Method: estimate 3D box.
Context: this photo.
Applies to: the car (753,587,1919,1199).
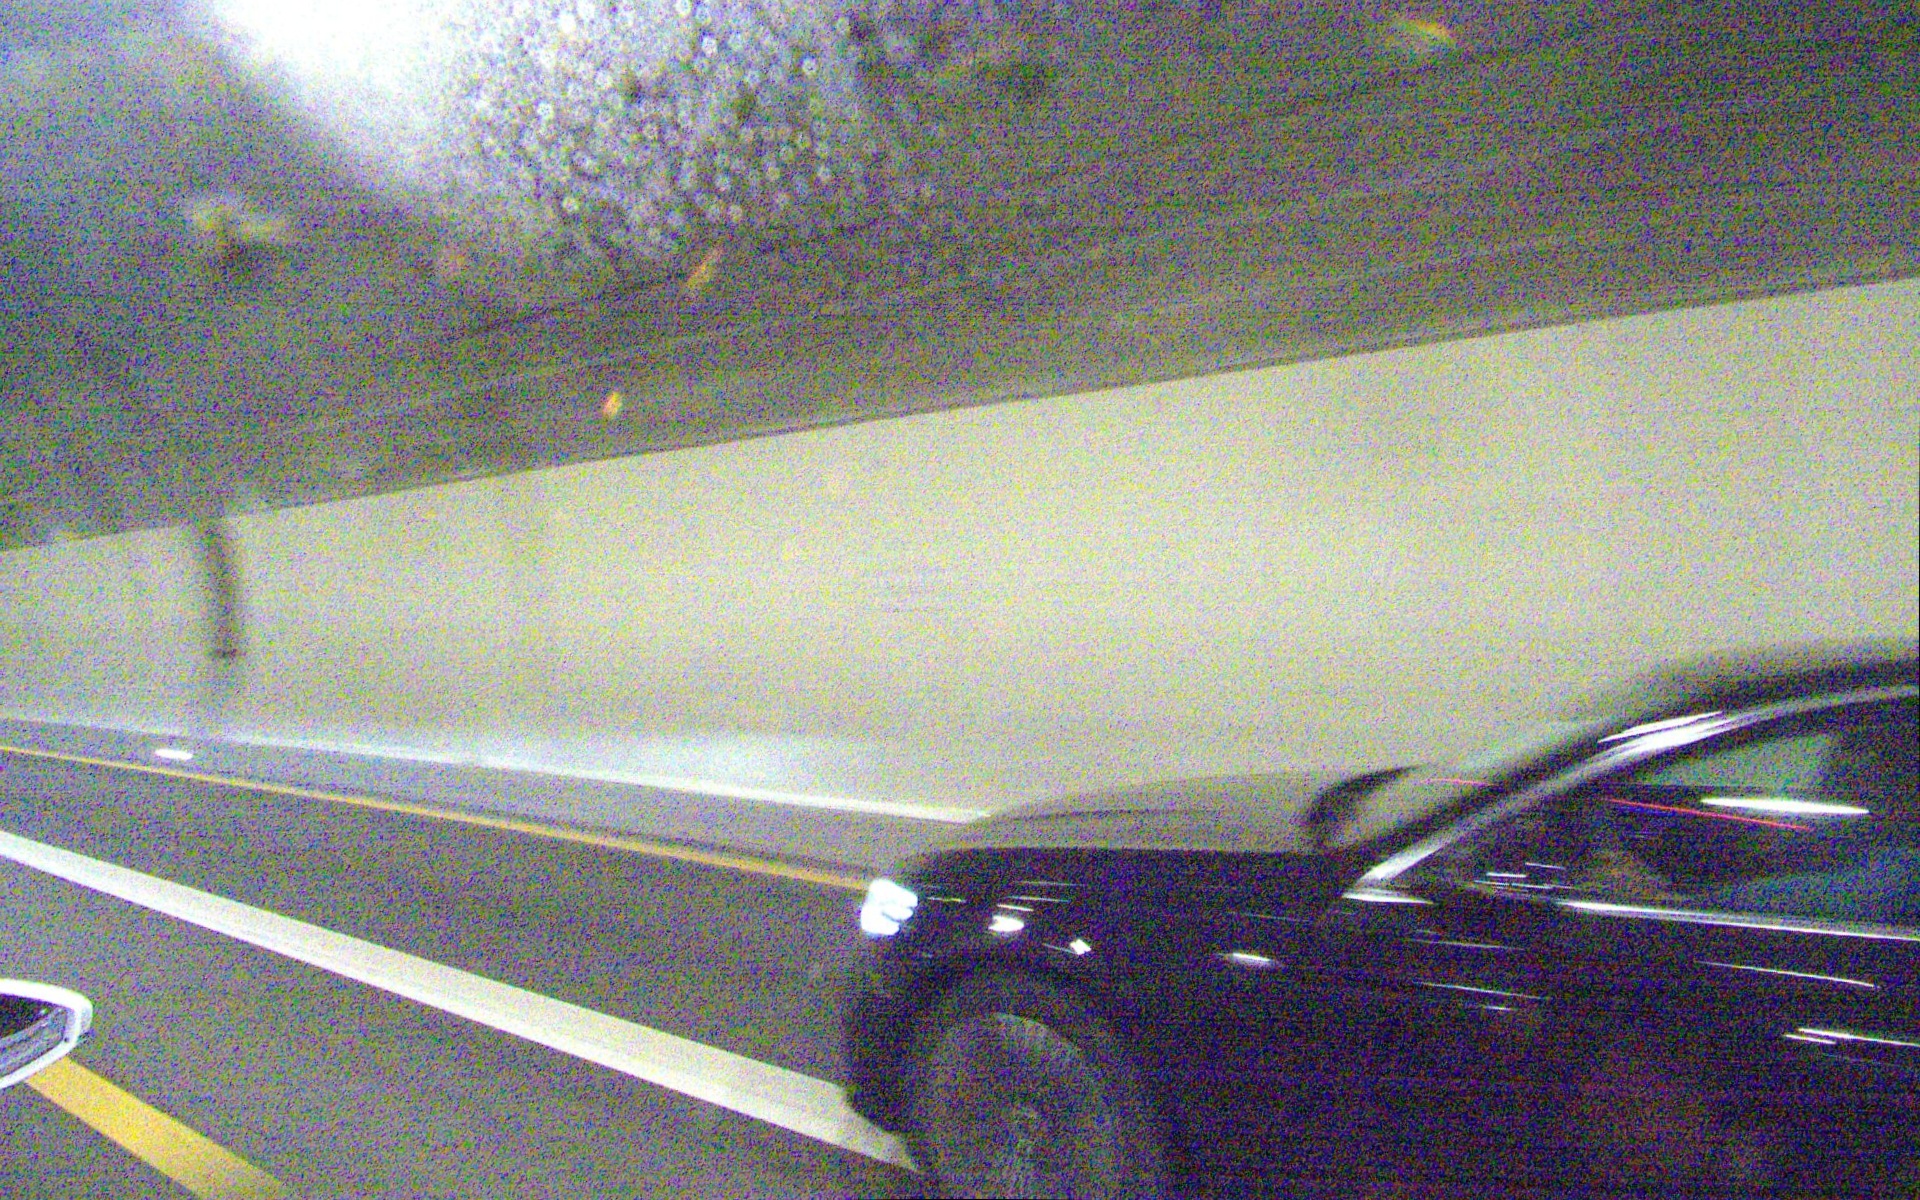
[{"bbox_3d":[1.970,0.764,2.349,4.885,1.491,1.922,-1,-3,33],"label":"car"}]
